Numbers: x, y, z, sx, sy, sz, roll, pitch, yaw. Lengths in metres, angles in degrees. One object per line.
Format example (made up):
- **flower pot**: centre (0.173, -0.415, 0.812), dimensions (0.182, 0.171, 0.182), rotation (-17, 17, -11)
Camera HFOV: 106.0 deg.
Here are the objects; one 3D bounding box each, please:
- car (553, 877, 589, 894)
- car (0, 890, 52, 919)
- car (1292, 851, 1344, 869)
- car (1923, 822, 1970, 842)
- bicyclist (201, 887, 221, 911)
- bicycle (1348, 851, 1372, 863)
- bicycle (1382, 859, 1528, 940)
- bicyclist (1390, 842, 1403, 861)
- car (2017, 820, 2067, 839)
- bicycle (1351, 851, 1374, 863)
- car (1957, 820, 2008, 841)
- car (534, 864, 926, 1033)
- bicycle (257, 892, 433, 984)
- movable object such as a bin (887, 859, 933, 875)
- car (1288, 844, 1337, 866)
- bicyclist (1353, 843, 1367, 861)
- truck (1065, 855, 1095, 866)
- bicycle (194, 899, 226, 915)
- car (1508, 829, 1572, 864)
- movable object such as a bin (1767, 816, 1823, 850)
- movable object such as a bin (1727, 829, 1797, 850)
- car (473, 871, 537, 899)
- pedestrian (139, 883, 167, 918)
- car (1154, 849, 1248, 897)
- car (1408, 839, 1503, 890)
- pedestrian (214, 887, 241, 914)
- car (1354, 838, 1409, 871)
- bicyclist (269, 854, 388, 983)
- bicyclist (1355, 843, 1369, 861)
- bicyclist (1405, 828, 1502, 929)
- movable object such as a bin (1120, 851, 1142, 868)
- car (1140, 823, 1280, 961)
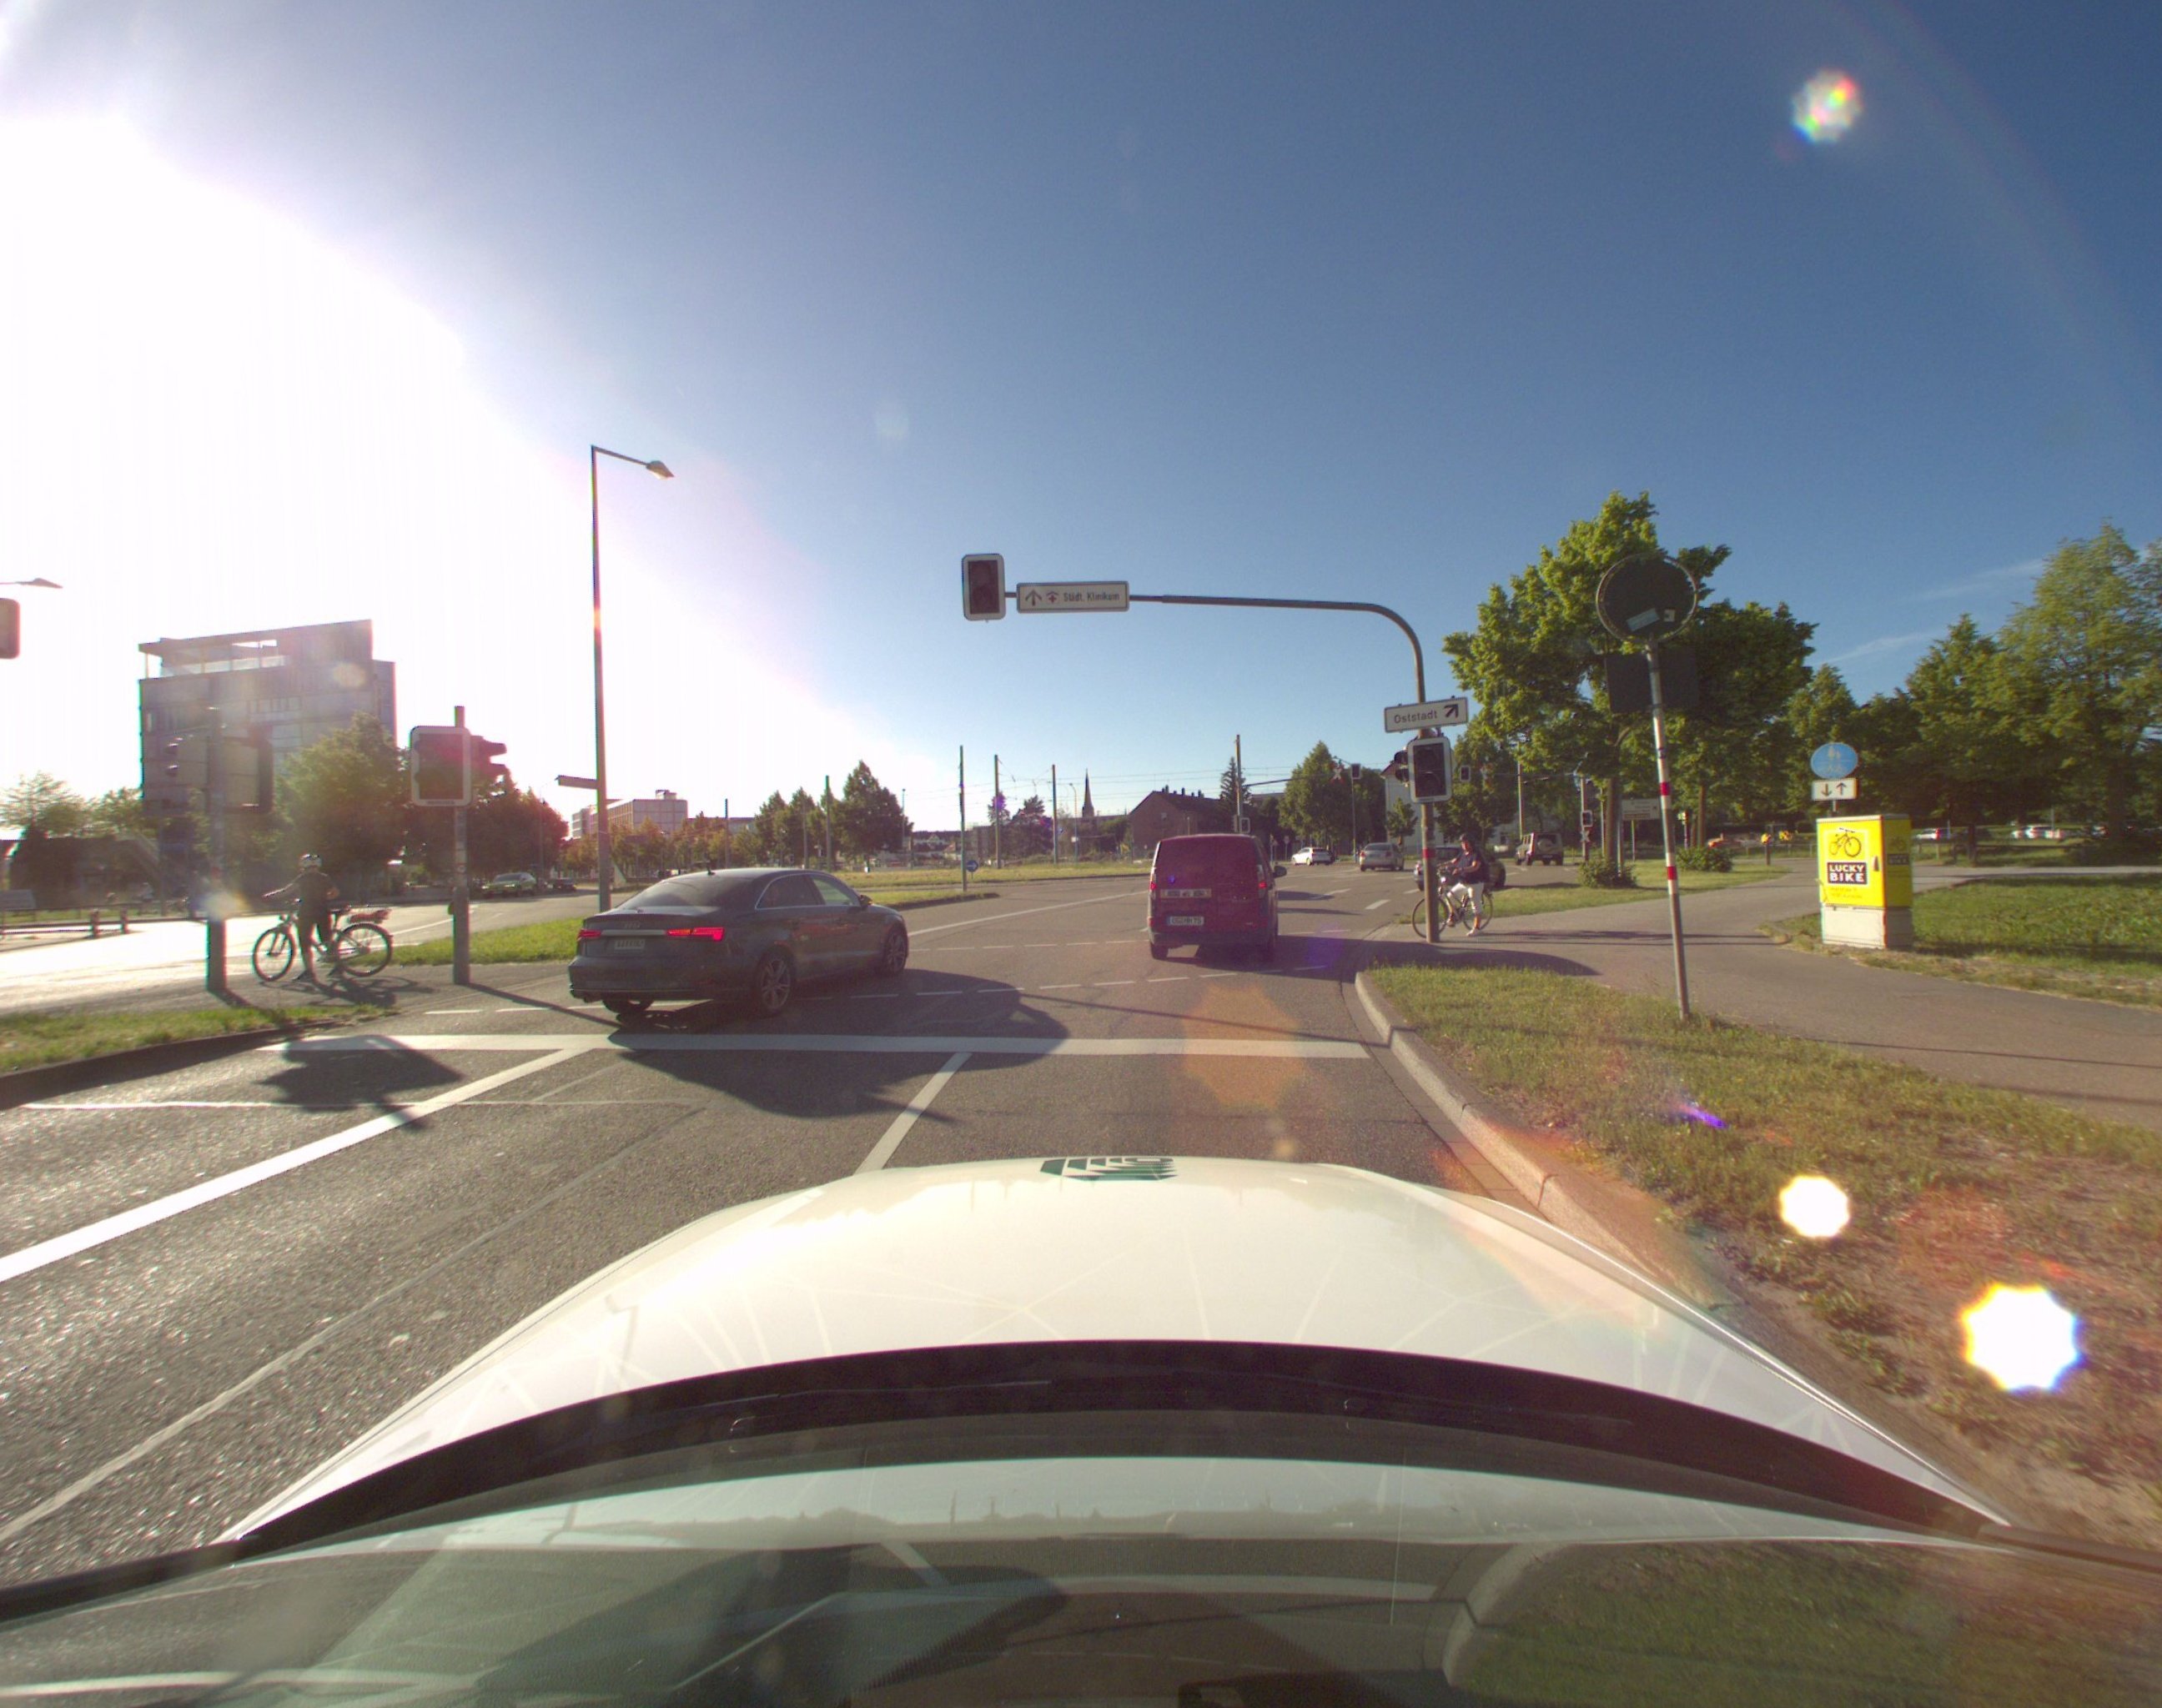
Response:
- **car**: centre (-58.436, 3.592, 93.279), dimensions (2.476, 1.785, 4.952), rotation (-1, -1, -43)
- **car**: centre (-73.198, 3.457, 55.244), dimensions (1.824, 1.805, 3.748), rotation (-2, 0, 4)
- **car**: centre (22.429, 0.579, 77.218), dimensions (2.008, 1.539, 4.362), rotation (-2, 0, -34)
- **car**: centre (83.461, -2.105, 78.582), dimensions (1.974, 1.723, 4.024), rotation (-1, -2, 29)
- **bicyclist**: centre (-59.410, 3.091, 55.616), dimensions (0.663, 1.580, 0.828), rotation (-2, -1, -25)
- **bicycle**: centre (28.898, 0.312, 84.364), dimensions (0.888, 1.266, 2.186), rotation (1, -2, -33)
- **bicycle**: centre (6.202, 0.724, 13.508), dimensions (2.218, 1.155, 0.870), rotation (-3, -1, -22)
- **bicyclist**: centre (31.962, -0.275, 82.519), dimensions (0.812, 1.852, 1.019), rotation (0, -2, -20)
- **car**: centre (88.618, -2.205, 75.149), dimensions (1.810, 1.556, 3.830), rotation (-1, -2, 31)
- **bicycle**: centre (29.616, 0.343, 85.833), dimensions (0.888, 1.266, 2.186), rotation (1, -2, -33)
- **car**: centre (84.936, -2.171, 76.799), dimensions (1.974, 1.769, 4.024), rotation (-1, -2, 29)
- **car**: centre (-3.447, 0.832, 9.090), dimensions (1.748, 1.380, 4.373), rotation (-1, -1, 13)
- **bicycle**: centre (-9.975, 1.115, 11.087), dimensions (1.649, 1.128, 0.702), rotation (-1, -1, -9)
- **movable object such as a bin**: centre (-32.385, 2.413, 154.438), dimensions (7.971, 2.782, 2.910), rotation (-1, -1, -38)
- **car**: centre (18.390, 0.073, 64.937), dimensions (1.994, 1.639, 4.391), rotation (-2, 0, -11)
- **bicyclist**: centre (28.885, -0.215, 84.360), dimensions (0.888, 1.852, 1.015), rotation (1, -2, -34)
- **truck**: centre (-0.290, 1.234, 150.390), dimensions (2.181, 2.014, 6.363), rotation (1, -2, -37)
- **bicycle**: centre (-59.401, 3.611, 55.582), dimensions (0.663, 0.988, 2.244), rotation (-2, 0, -24)
- **car**: centre (27.082, -0.388, 48.195), dimensions (1.983, 1.897, 4.769), rotation (-2, -1, 13)
- **movable object such as a bin**: centre (65.072, -1.842, 74.312), dimensions (1.977, 2.789, 5.071), rotation (-1, -2, 19)
- **movable object such as a bin**: centre (69.635, -1.493, 83.382), dimensions (4.962, 1.948, 2.251), rotation (-1, -2, 21)
- **car**: centre (-35.828, 1.894, 50.789), dimensions (2.008, 1.541, 4.299), rotation (-2, 0, -18)
- **pedestrian**: centre (-55.842, 2.792, 49.014), dimensions (0.587, 2.006, 0.941), rotation (-2, 0, -9)
- **car**: centre (4.035, 0.595, 26.936), dimensions (1.785, 1.461, 3.833), rotation (-1, -1, 30)
- **car**: centre (11.948, 0.299, 25.839), dimensions (1.697, 1.436, 4.178), rotation (-2, 0, 39)
- **pedestrian**: centre (-54.224, 2.943, 51.722), dimensions (0.885, 1.629, 0.756), rotation (-2, 0, -18)
- **car**: centre (15.946, -0.015, 43.076), dimensions (1.974, 1.575, 4.435), rotation (-2, 0, 29)
- **bicyclist**: centre (-10.178, 0.850, 11.052), dimensions (0.939, 1.663, 0.702), rotation (-1, -1, -9)
- **bicyclist**: centre (29.611, -0.184, 85.845), dimensions (0.887, 1.852, 1.016), rotation (1, -2, -30)
- **bicyclist**: centre (6.165, 0.395, 13.502), dimensions (1.088, 1.562, 0.870), rotation (-3, -2, -22)
- **movable object such as a bin**: centre (8.164, 0.954, 132.672), dimensions (2.423, 2.774, 3.980), rotation (0, -2, -15)
- **car**: centre (2.162, 0.506, 12.754), dimensions (1.789, 1.813, 3.824), rotation (-1, 0, 14)
